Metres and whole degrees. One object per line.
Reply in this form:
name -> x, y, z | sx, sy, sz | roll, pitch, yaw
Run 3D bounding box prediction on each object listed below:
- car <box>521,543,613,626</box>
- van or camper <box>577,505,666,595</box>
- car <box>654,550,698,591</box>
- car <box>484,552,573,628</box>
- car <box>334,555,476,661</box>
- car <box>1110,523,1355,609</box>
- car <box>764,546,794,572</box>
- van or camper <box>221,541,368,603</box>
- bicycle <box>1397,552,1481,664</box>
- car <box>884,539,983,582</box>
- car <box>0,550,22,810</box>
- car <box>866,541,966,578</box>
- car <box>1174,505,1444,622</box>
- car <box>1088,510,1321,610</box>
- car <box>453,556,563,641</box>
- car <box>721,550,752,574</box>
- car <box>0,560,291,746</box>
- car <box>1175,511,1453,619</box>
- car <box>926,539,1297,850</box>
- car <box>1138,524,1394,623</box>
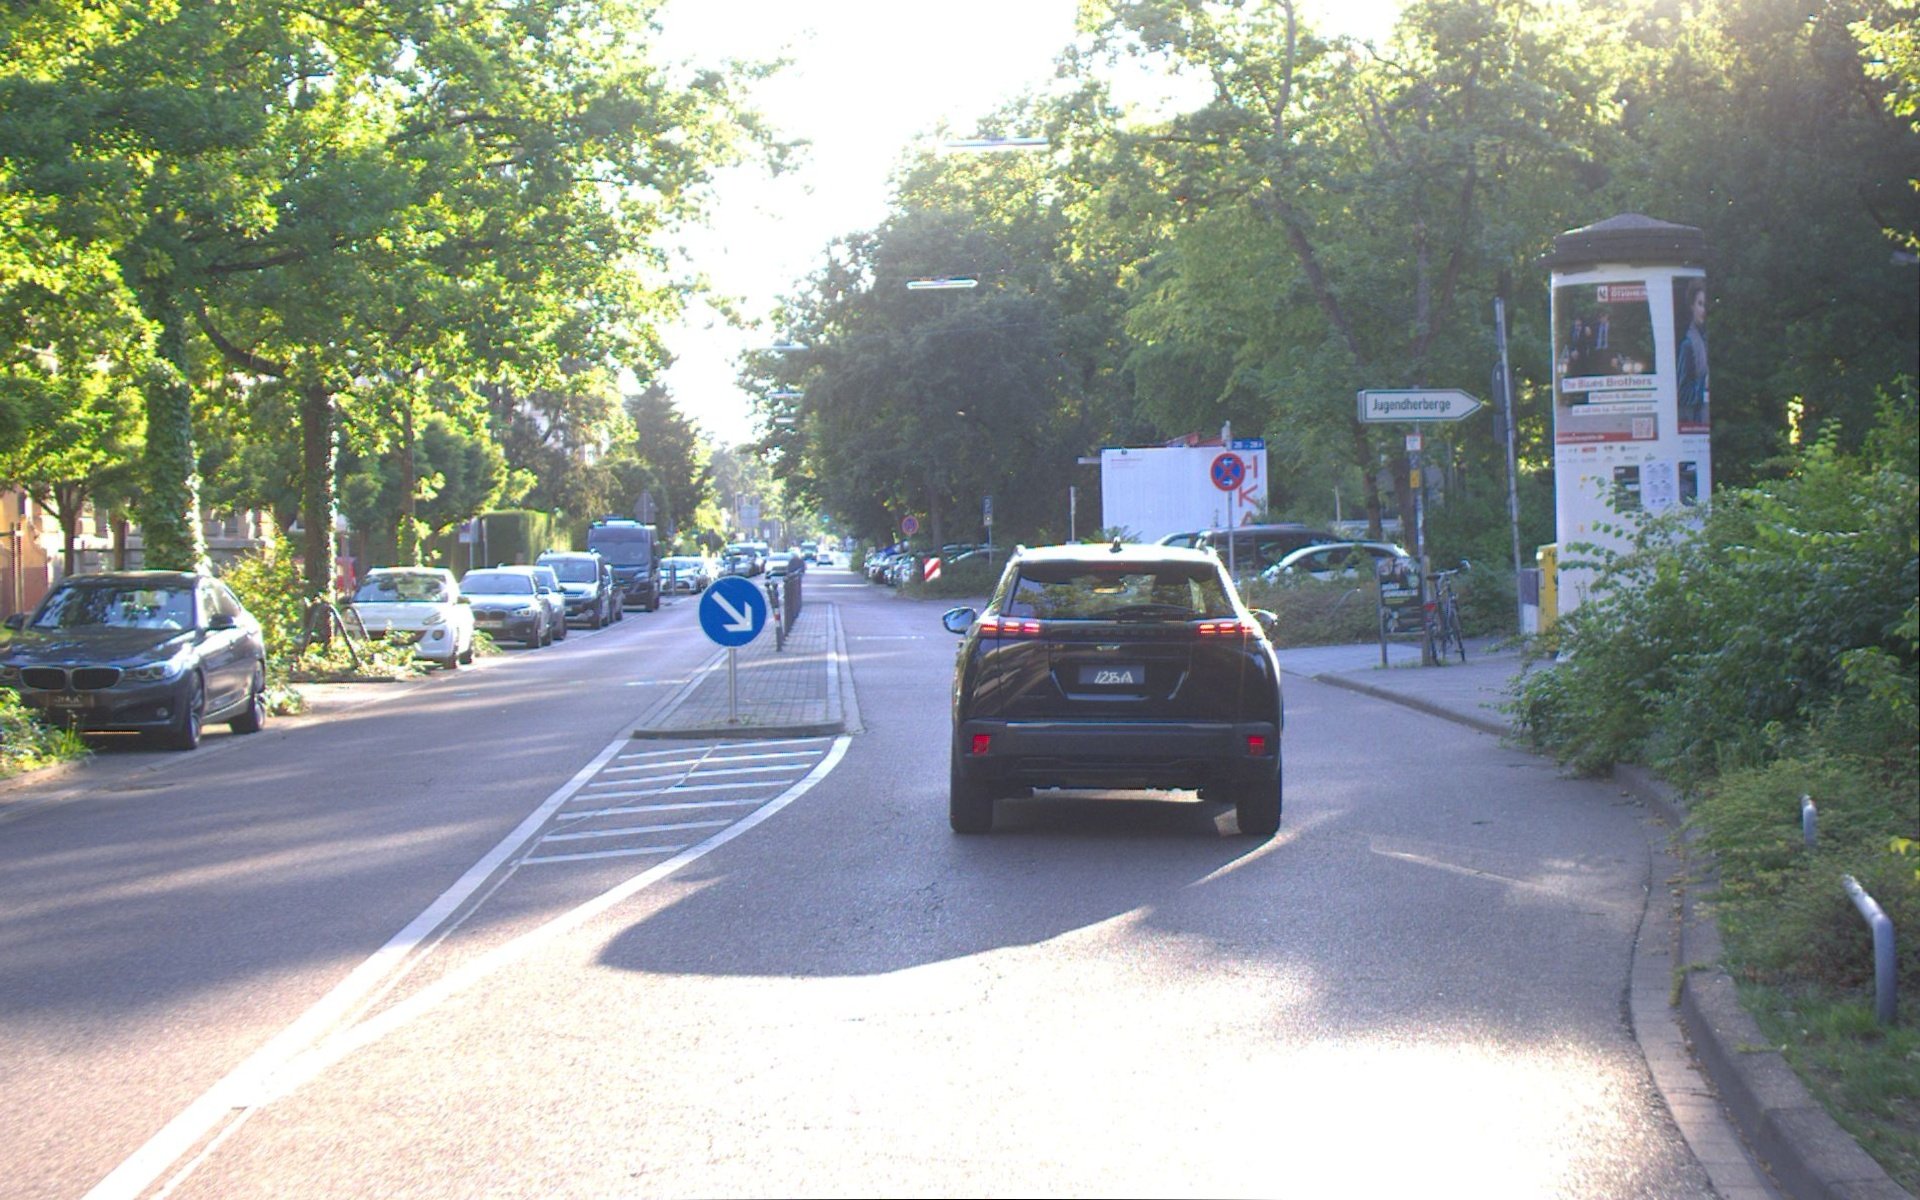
car -> -9.257, -0.400, 81.263 | 1.777, 1.859, 4.333 | 1, 1, -2
van or camper -> -9.910, -1.457, 101.103 | 2.229, 2.536, 7.081 | 0, 1, -3
car -> -11.248, -1.169, 136.394 | 1.613, 1.510, 3.712 | -3, 1, -4
car -> -8.943, -0.236, 70.993 | 1.718, 1.491, 4.378 | -1, 1, -8
car -> -8.202, 0.090, 51.044 | 1.617, 1.491, 3.925 | -1, 1, -2
car -> 5.775, -0.730, 73.300 | 4.926, 1.548, 1.916 | -3, 1, -3
car -> -10.804, -2.432, 204.991 | 1.741, 1.453, 4.624 | -2, 1, -3
van or camper -> -23.728, -1.010, 122.684 | 4.768, 1.979, 2.001 | -1, 5, 0
bicycle -> 5.514, 0.076, 39.468 | 0.493, 1.144, 2.283 | -4, 1, 18
car -> -1.100, -1.629, 141.969 | 3.986, 1.549, 1.726 | -3, 1, -2
car -> -6.761, 0.519, 19.736 | 1.779, 1.610, 4.148 | 0, 1, -2
car -> -1.942, -1.771, 152.050 | 4.242, 1.444, 2.022 | -3, 1, -4
car -> 6.065, -0.648, 60.042 | 4.362, 1.774, 1.921 | -3, 1, -3
car -> 5.357, -0.881, 75.722 | 4.852, 1.909, 1.916 | -3, 1, -3
car -> -8.334, -0.060, 63.664 | 1.617, 1.491, 4.378 | -1, 1, -2
car -> -14.592, -2.484, 224.805 | 1.899, 1.568, 4.001 | -1, 1, -3
car -> -7.266, 0.408, 30.515 | 1.802, 1.505, 4.863 | 0, 1, -1
car -> 5.918, -0.599, 57.791 | 4.362, 1.548, 1.728 | -3, 1, -3
car -> 0.753, 0.447, 19.564 | 1.771, 1.563, 4.109 | 0, 1, -2
car -> 5.569, -0.490, 62.910 | 4.362, 1.548, 1.876 | -3, 1, -3
